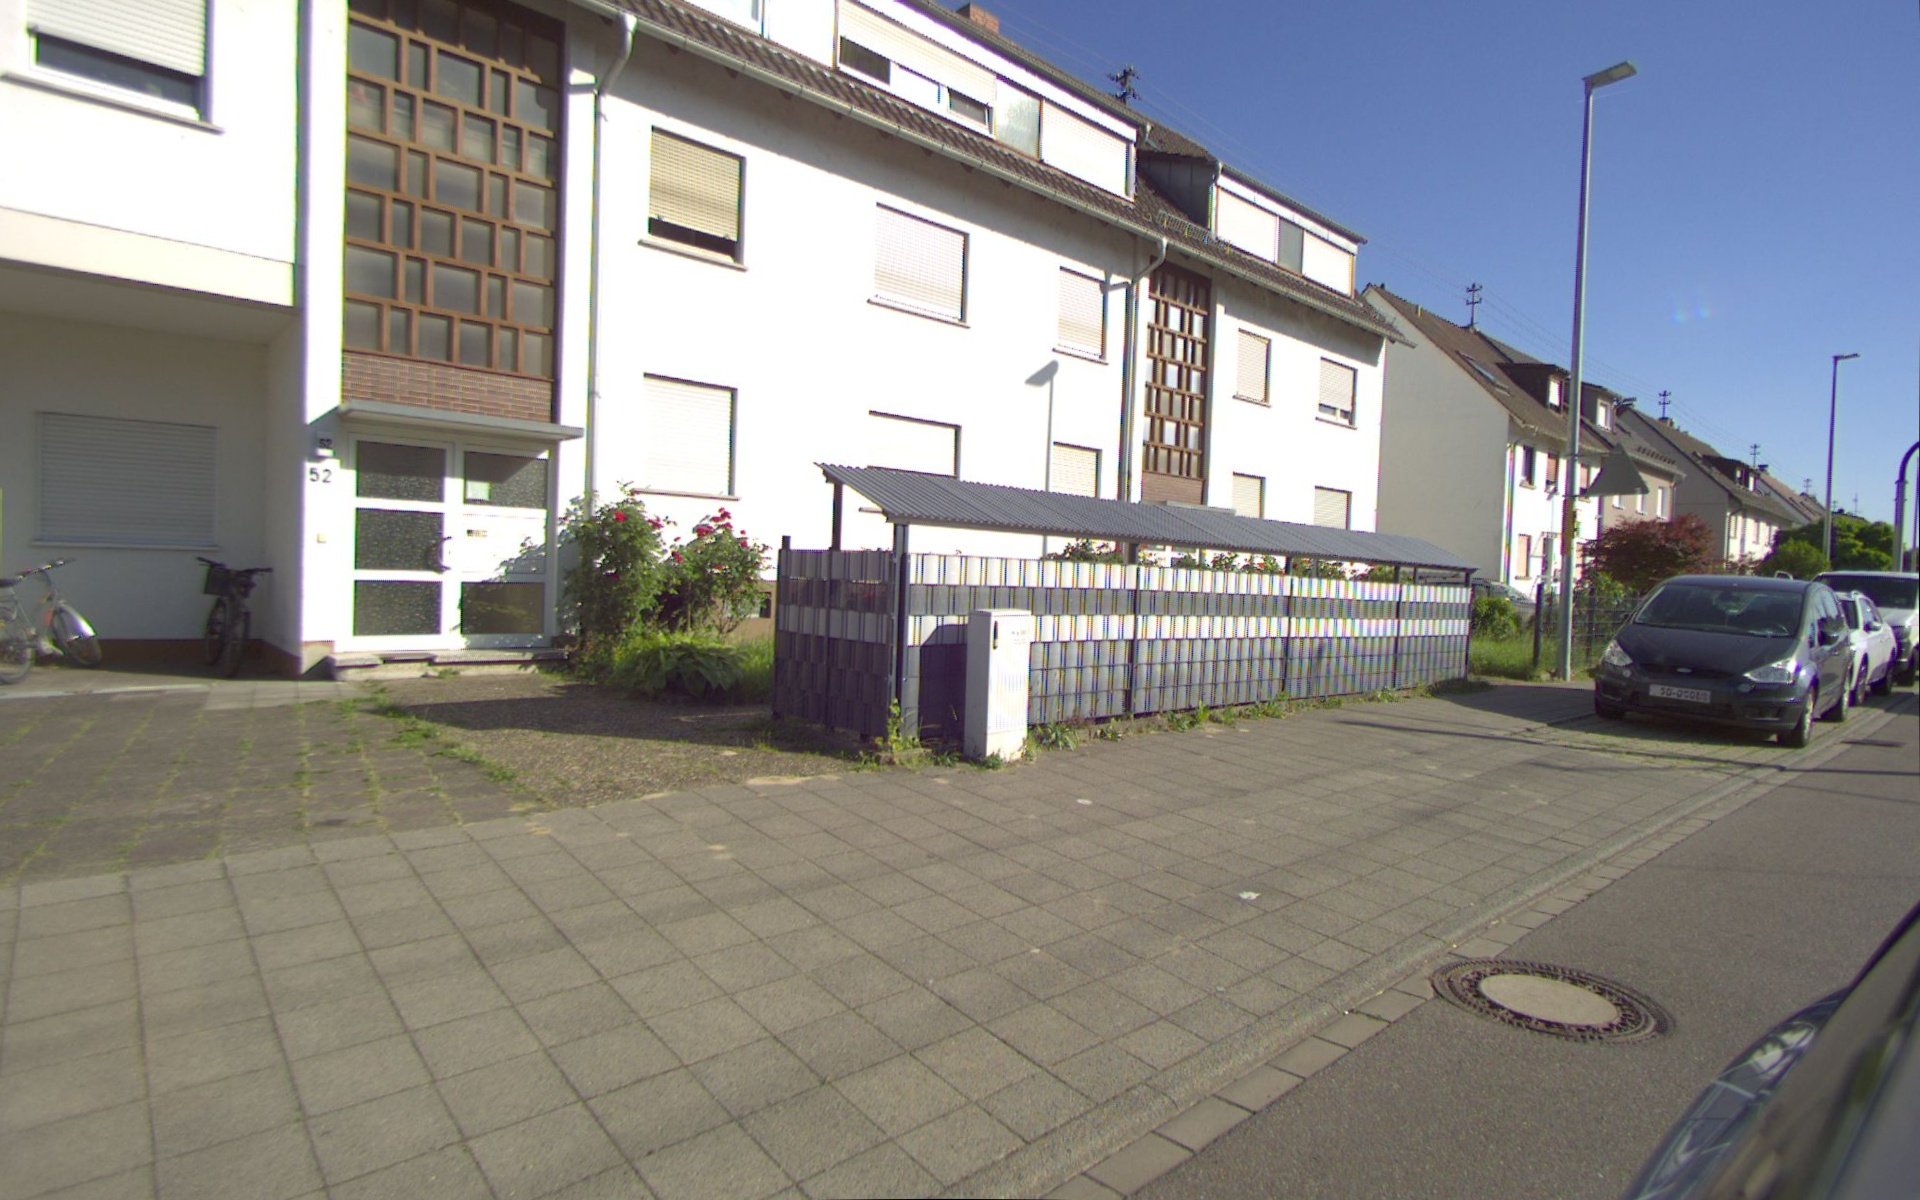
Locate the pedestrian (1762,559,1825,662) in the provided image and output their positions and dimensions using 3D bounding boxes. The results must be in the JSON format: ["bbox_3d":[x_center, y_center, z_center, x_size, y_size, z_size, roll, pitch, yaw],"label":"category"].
[{"bbox_3d":[16.033,0.192,19.470,0.744,1.936,0.701,0,1,-33],"label":"pedestrian"}]

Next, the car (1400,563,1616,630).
[{"bbox_3d":[14.588,-0.165,27.145,1.875,1.495,4.719,-1,4,-43],"label":"car"}]

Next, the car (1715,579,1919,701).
[{"bbox_3d":[12.839,0.503,15.040,4.086,1.510,1.661,0,3,-40],"label":"car"}]

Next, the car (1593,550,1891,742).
[{"bbox_3d":[8.951,0.396,11.408,4.778,1.648,1.794,0,5,-43],"label":"car"}]

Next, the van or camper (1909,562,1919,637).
[{"bbox_3d":[32.596,0.054,32.819,6.196,2.298,1.998,0,4,-42],"label":"van or camper"}]

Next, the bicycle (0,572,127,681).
[{"bbox_3d":[-8.201,0.195,9.026,0.481,0.882,1.546,1,2,-9],"label":"bicycle"}]

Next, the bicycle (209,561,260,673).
[{"bbox_3d":[-7.189,0.125,10.008,0.326,1.015,1.713,0,2,-38],"label":"bicycle"}]

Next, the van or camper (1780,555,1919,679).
[{"bbox_3d":[17.375,0.287,18.710,5.194,1.980,2.035,1,2,-35],"label":"van or camper"}]
